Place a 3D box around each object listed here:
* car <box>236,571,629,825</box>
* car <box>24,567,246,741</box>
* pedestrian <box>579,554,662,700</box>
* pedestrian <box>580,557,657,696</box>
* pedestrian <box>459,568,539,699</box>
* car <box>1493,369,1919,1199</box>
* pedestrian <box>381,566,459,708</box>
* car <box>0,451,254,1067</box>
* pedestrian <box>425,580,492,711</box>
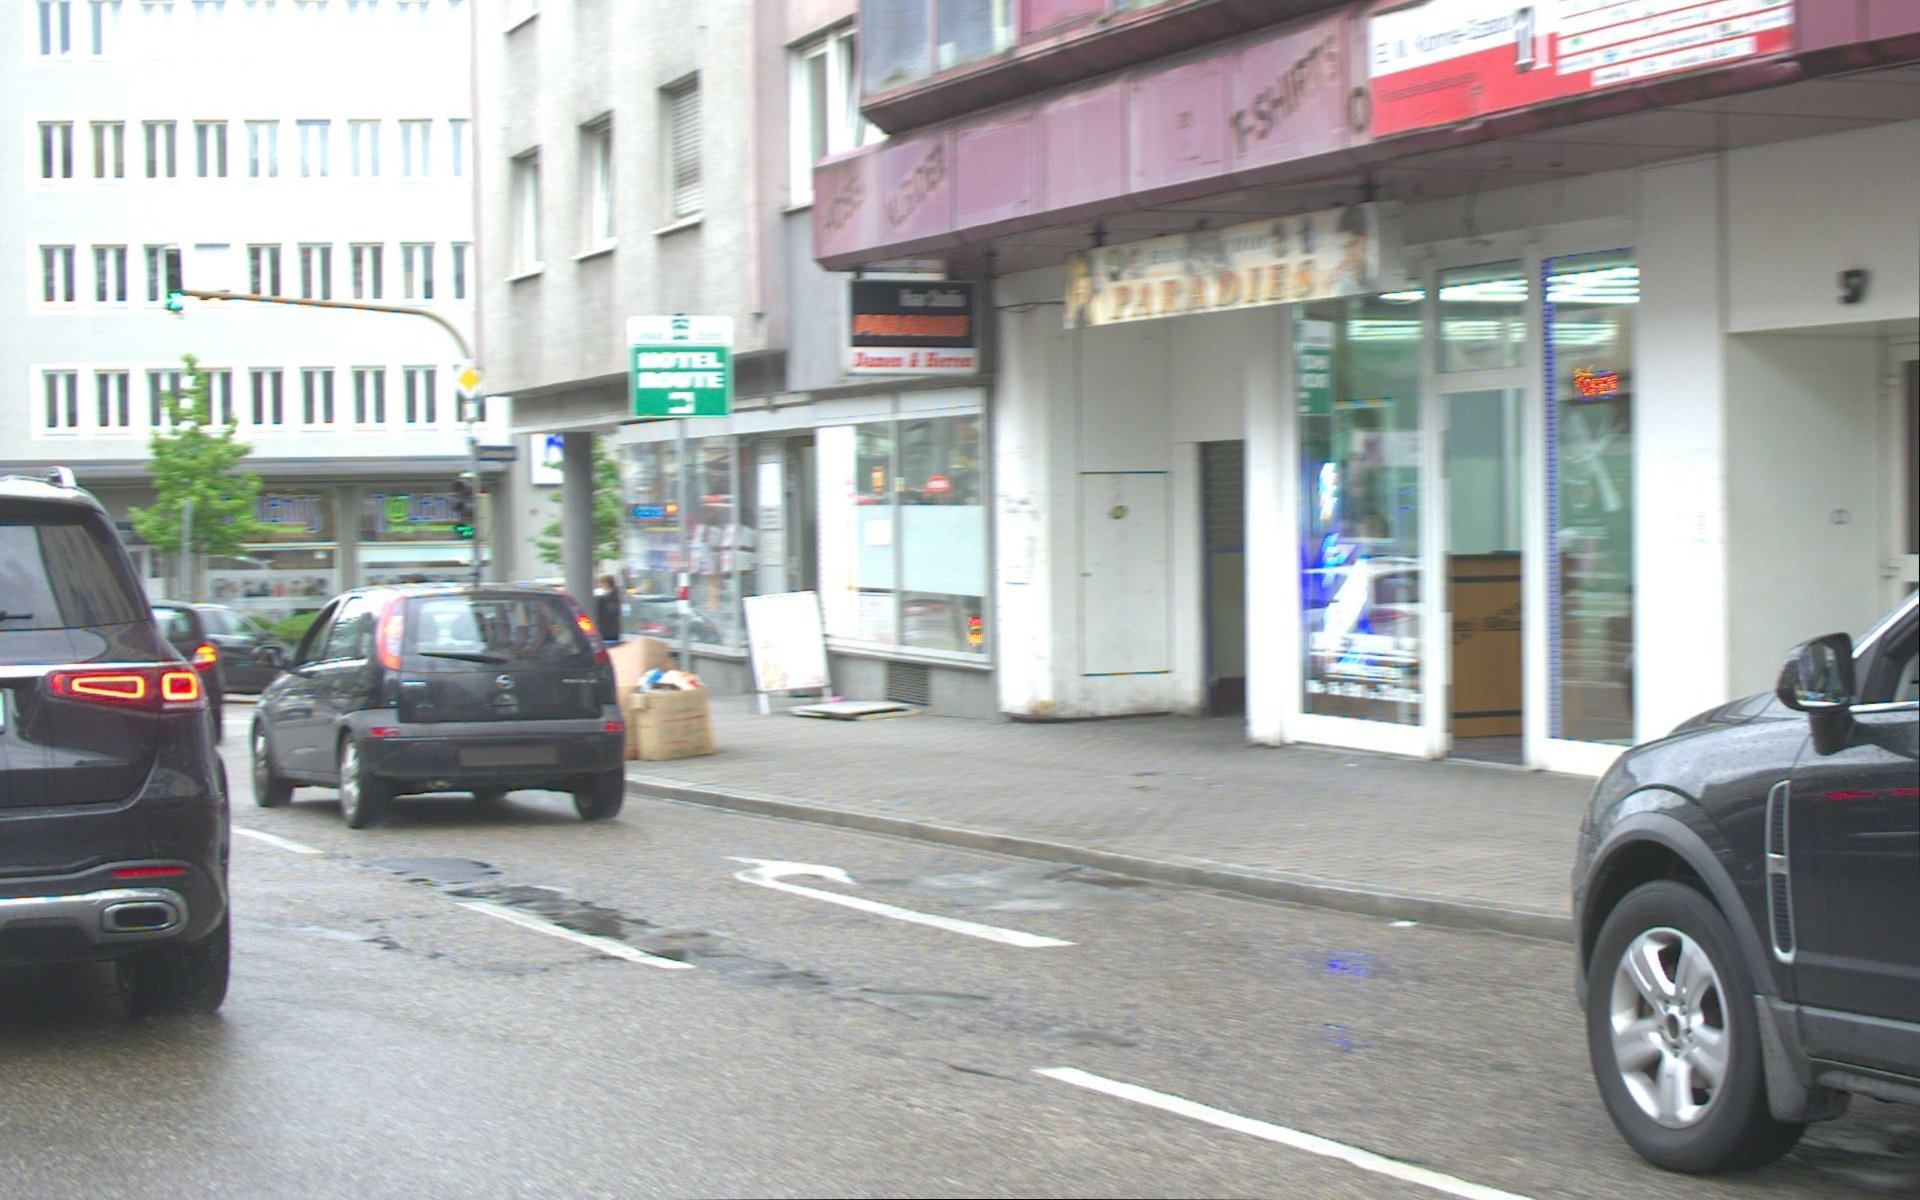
[{"bbox_3d":[-3.339,0.568,21.210,1.716,1.415,3.771,0,-1,-20],"label":"car"},{"bbox_3d":[-8.519,0.516,35.275,1.949,1.568,4.002,1,2,-17],"label":"car"},{"bbox_3d":[-4.481,0.360,45.379,0.835,1.859,0.658,-4,-2,-18],"label":"pedestrian"},{"bbox_3d":[-4.346,0.343,43.721,0.835,1.717,0.617,-2,-2,-14],"label":"pedestrian"},{"bbox_3d":[-5.935,0.441,44.256,0.744,1.629,0.596,-4,-3,19],"label":"pedestrian"},{"bbox_3d":[2.989,0.427,6.914,1.906,1.779,4.303,0,1,-21],"label":"car"},{"bbox_3d":[-6.589,0.452,41.953,0.626,1.686,0.781,-3,-1,13],"label":"pedestrian"},{"bbox_3d":[-3.930,0.429,12.239,2.087,1.811,4.794,-1,1,-20],"label":"car"},{"bbox_3d":[-6.537,0.599,44.794,0.539,1.632,0.838,-4,-2,-23],"label":"pedestrian"}]
